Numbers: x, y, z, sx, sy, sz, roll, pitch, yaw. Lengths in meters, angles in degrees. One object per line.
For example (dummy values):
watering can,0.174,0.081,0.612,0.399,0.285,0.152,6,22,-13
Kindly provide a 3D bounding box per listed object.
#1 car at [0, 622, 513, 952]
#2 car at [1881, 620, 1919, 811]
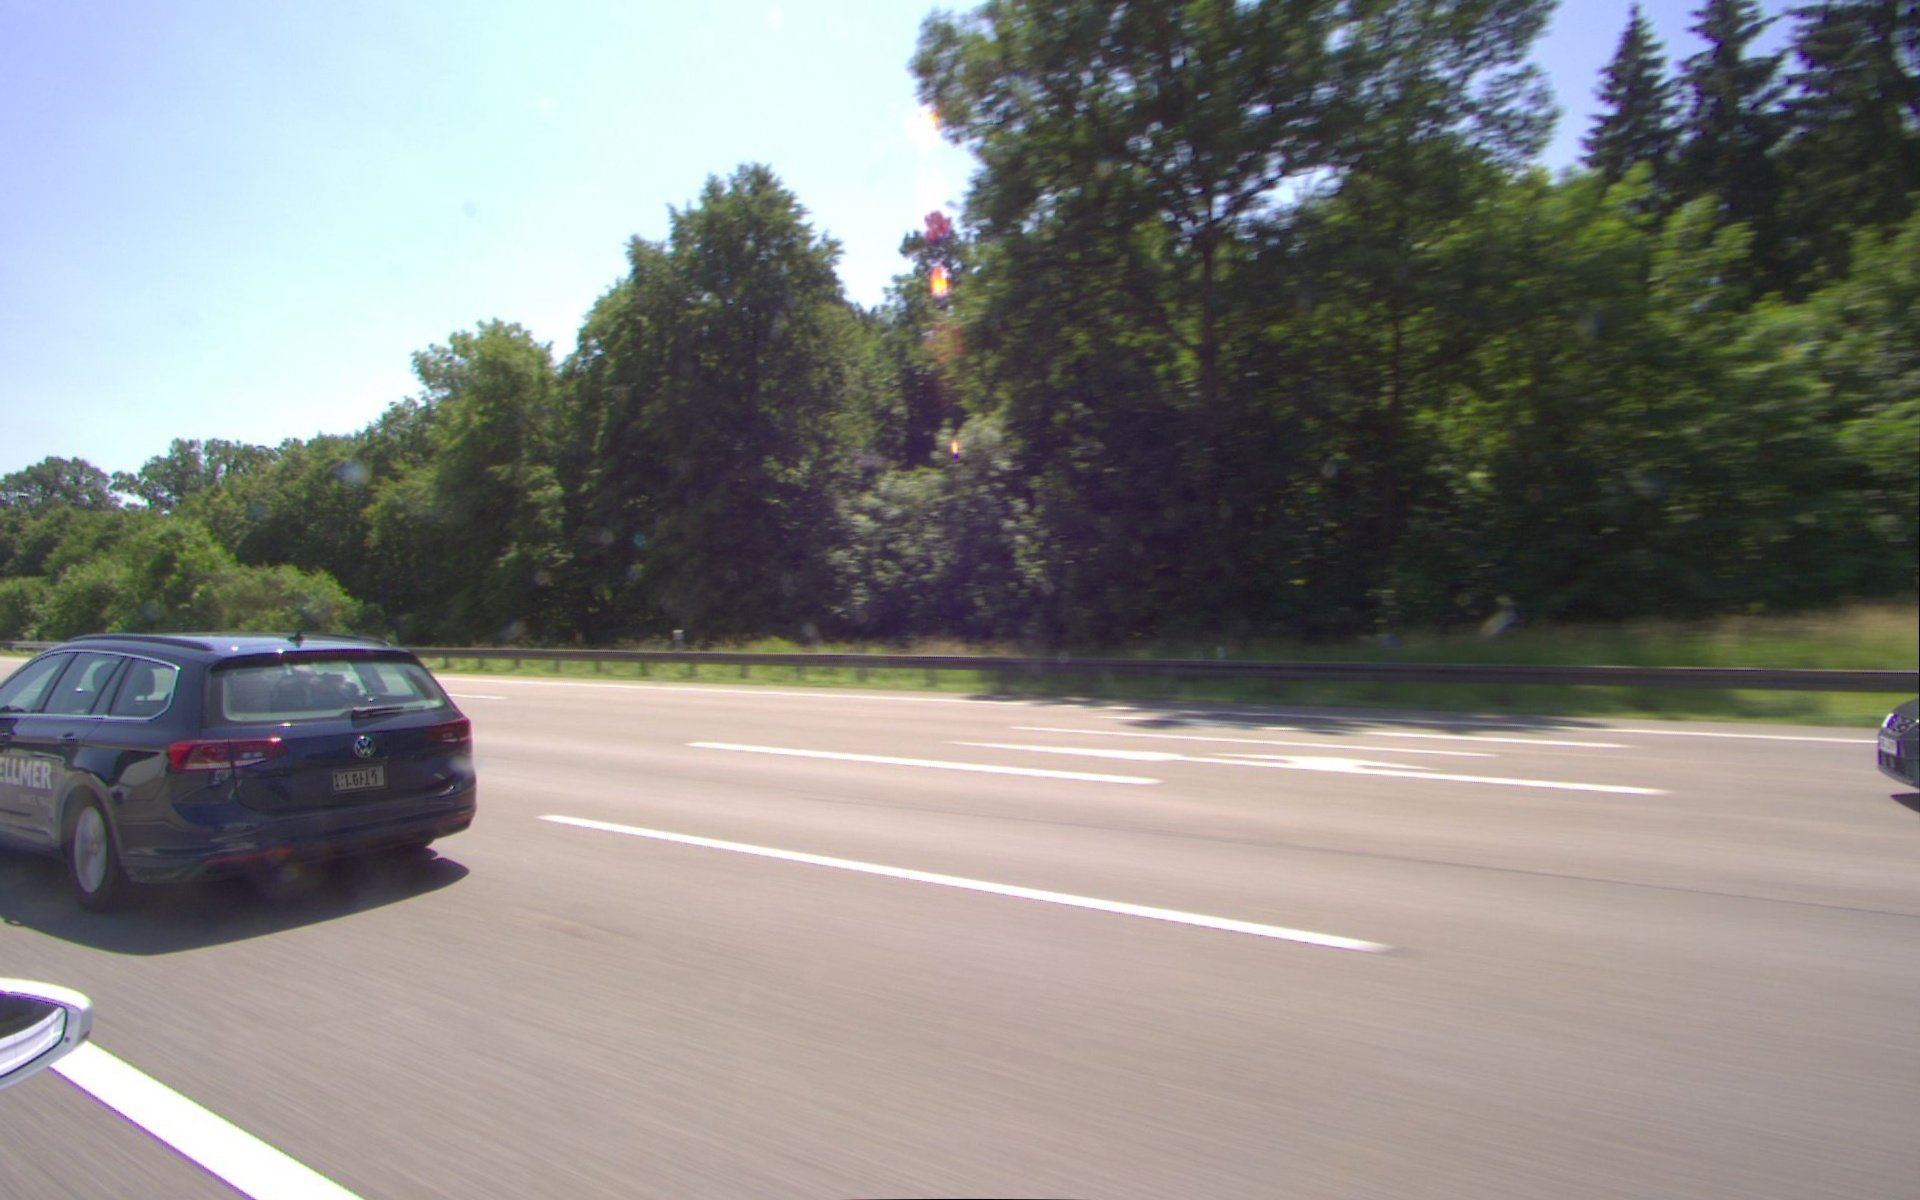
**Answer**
car,-5.192,0.895,6.614,4.891,1.466,1.726,-1,0,33
car,9.403,0.863,6.656,4.568,1.457,1.640,-1,-2,32
